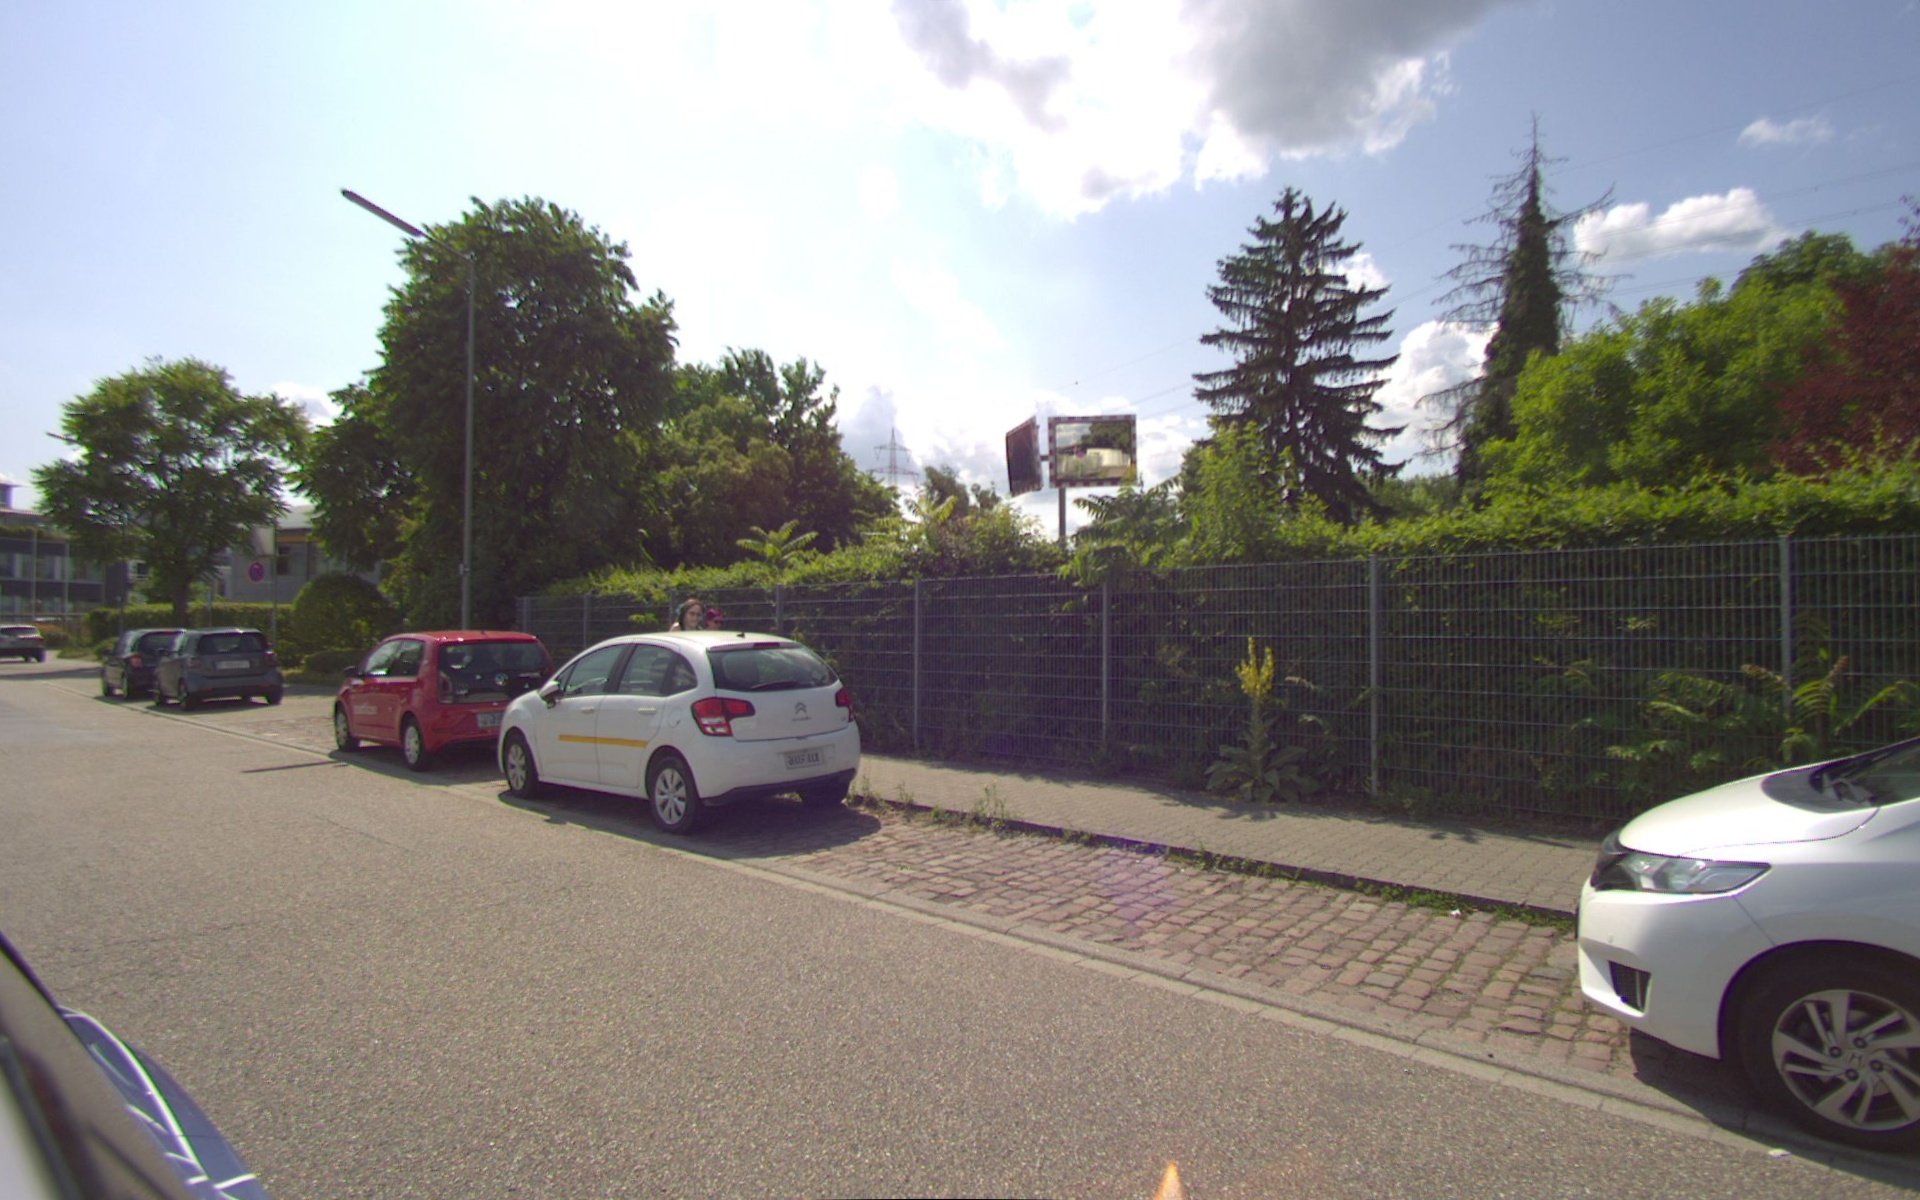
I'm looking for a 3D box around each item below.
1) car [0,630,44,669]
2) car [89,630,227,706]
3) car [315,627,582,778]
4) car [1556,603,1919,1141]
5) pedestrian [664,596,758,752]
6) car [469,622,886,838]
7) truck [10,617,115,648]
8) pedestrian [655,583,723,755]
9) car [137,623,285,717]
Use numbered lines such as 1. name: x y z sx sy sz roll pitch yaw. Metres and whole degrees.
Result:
1. car: -40.849 2.082 43.312 4.471 1.586 1.740 -1 -1 38
2. car: -18.671 1.509 23.502 3.998 1.519 1.826 -2 0 42
3. car: -6.208 1.086 12.105 3.743 1.478 1.648 -1 -1 43
4. car: 4.169 0.765 2.774 4.171 1.534 1.604 -2 -2 39
5. pedestrian: -3.050 0.877 12.394 0.915 1.814 0.700 -1 -2 42
6. car: -2.647 0.948 8.977 4.027 1.488 1.628 -1 -2 41
7. truck: -80.836 2.901 91.299 2.383 2.678 6.900 -1 -2 15
8. pedestrian: -3.122 0.773 11.665 0.677 1.908 0.446 -1 -2 42
9. car: -15.091 1.342 20.358 3.270 1.658 1.634 -2 0 40
